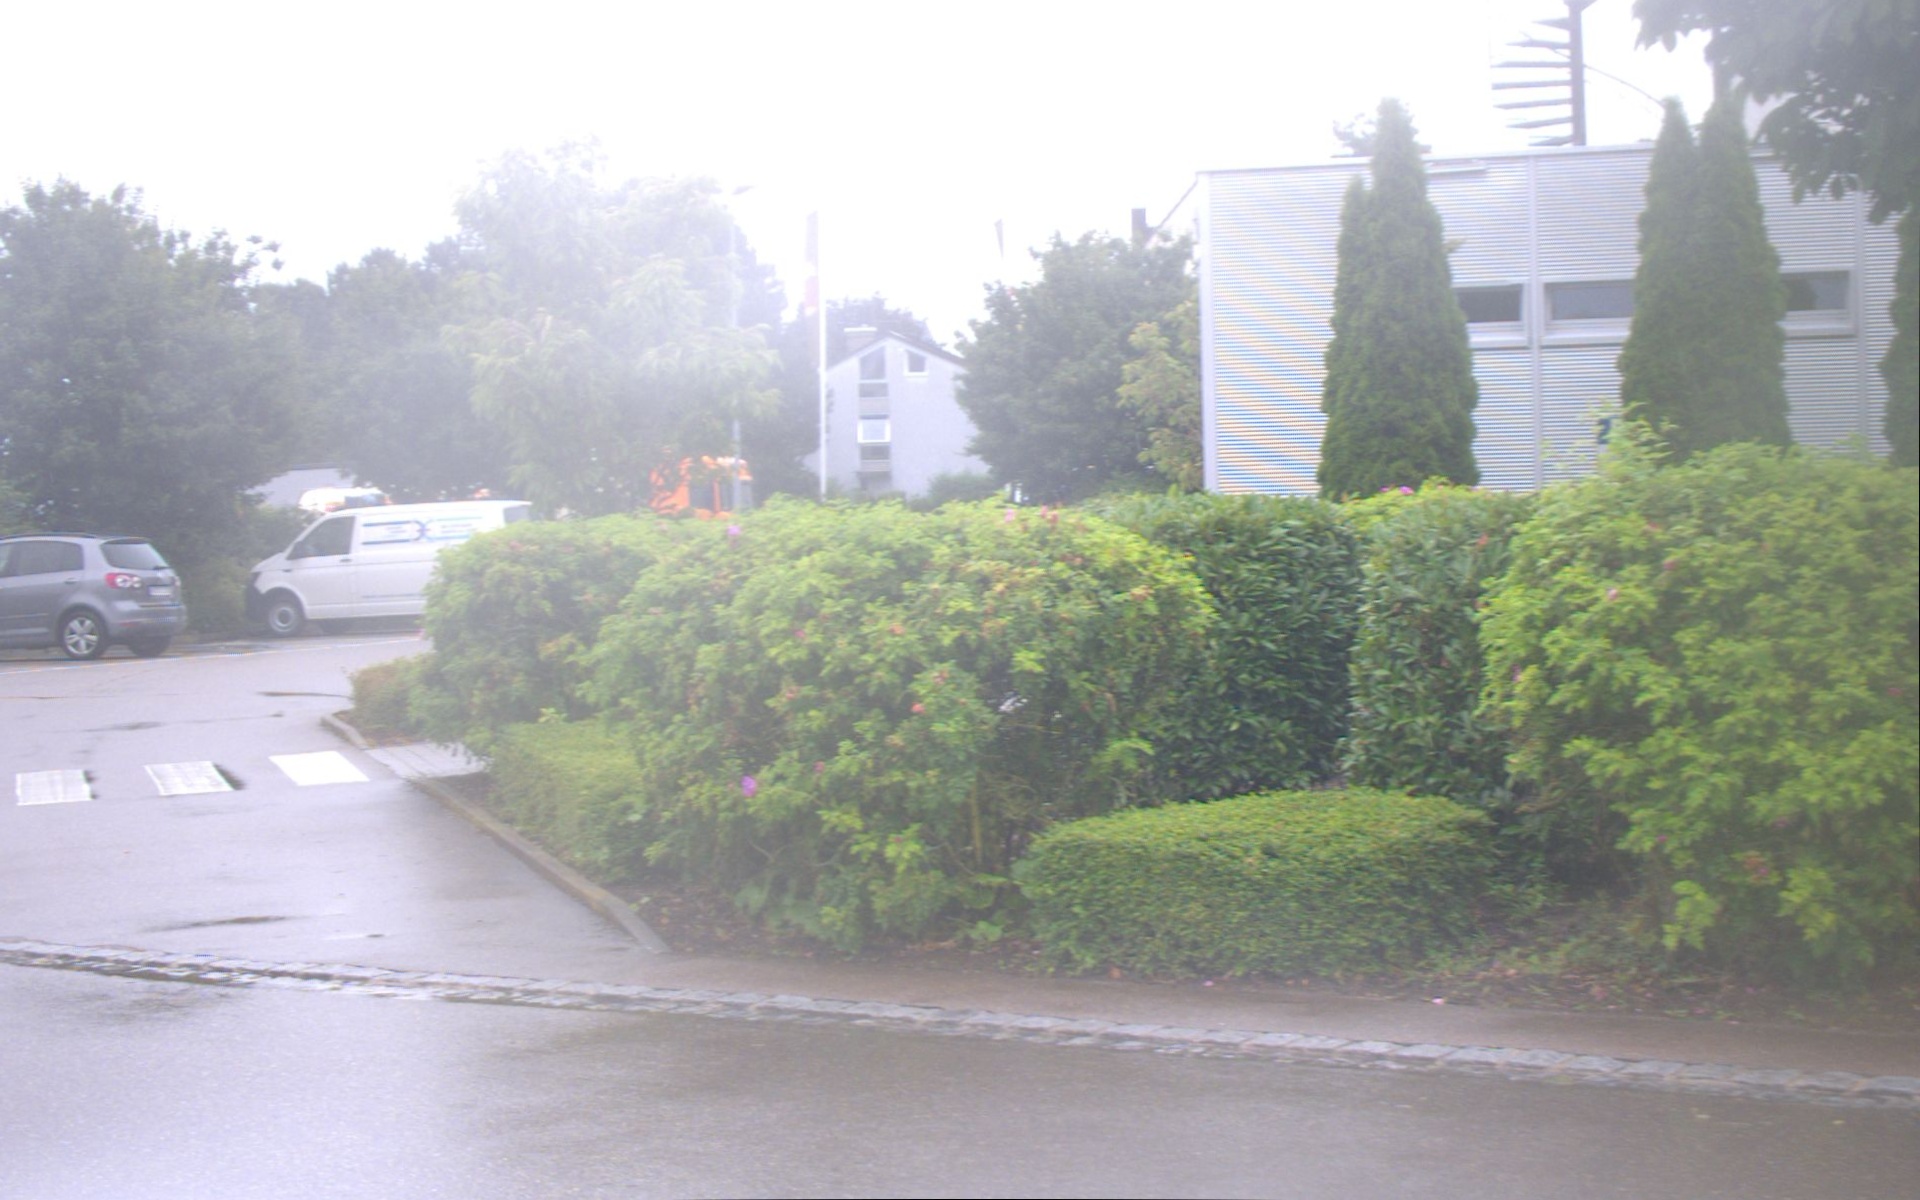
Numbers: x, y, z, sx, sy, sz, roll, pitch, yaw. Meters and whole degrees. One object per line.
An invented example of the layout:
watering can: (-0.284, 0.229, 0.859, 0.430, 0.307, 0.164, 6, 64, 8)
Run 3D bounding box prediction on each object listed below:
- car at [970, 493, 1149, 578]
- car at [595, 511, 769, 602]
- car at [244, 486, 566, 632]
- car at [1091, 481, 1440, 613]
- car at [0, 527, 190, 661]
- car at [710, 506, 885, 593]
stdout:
car: (1.804, -1.182, 63.453, 1.580, 1.453, 3.680, -4, 2, -29)
car: (-4.850, -0.750, 59.579, 1.551, 1.453, 3.680, -4, 2, -29)
car: (-8.474, -0.635, 52.552, 4.524, 2.026, 1.644, -2, 2, 17)
car: (3.957, -0.684, 44.421, 4.178, 1.492, 1.717, -2, 2, 16)
car: (-11.696, -0.056, 43.028, 3.735, 1.545, 1.450, -2, 2, 17)
car: (-2.944, -0.891, 61.536, 1.580, 1.453, 3.680, -4, 2, -29)
